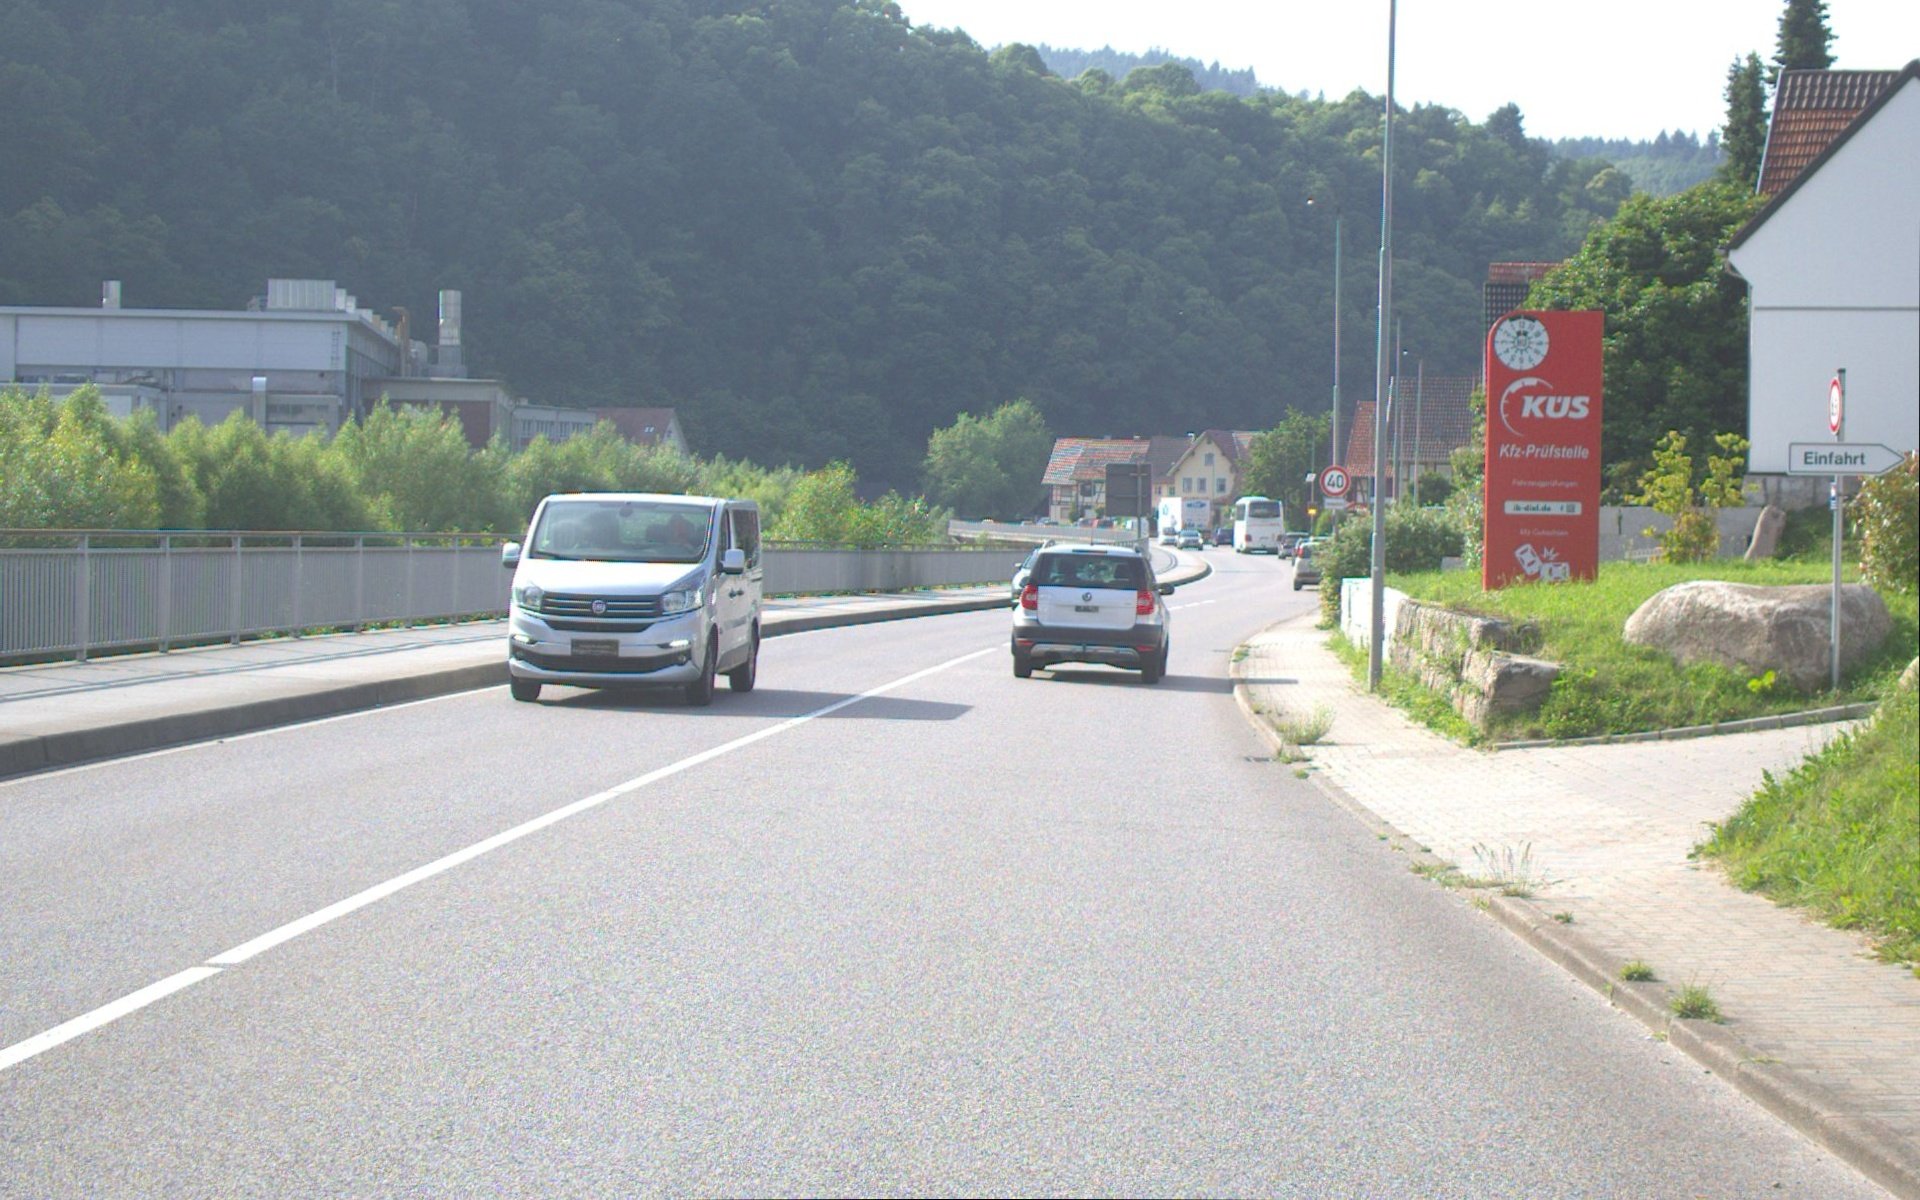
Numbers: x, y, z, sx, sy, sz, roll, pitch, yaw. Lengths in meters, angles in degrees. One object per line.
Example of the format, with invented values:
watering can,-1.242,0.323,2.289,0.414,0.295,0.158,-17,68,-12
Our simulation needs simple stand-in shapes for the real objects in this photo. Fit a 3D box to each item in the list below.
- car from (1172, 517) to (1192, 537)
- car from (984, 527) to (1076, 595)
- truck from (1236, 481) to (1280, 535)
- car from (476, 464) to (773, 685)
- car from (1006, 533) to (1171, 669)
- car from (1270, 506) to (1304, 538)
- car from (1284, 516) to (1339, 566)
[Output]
car,16.314,-5.383,252.824,1.433,1.379,3.135,2,3,3
car,1.641,-0.897,79.157,1.813,1.479,4.797,2,1,4
truck,19.759,-6.135,227.897,2.729,3.363,6.478,2,3,5
car,-3.153,-0.260,33.379,1.920,1.961,5.145,1,1,5
car,1.639,-0.030,42.415,1.861,1.539,4.373,2,1,4
car,18.891,-4.517,198.467,1.675,1.746,3.447,2,3,9
car,11.513,-1.921,112.489,1.622,1.536,3.277,2,1,8
